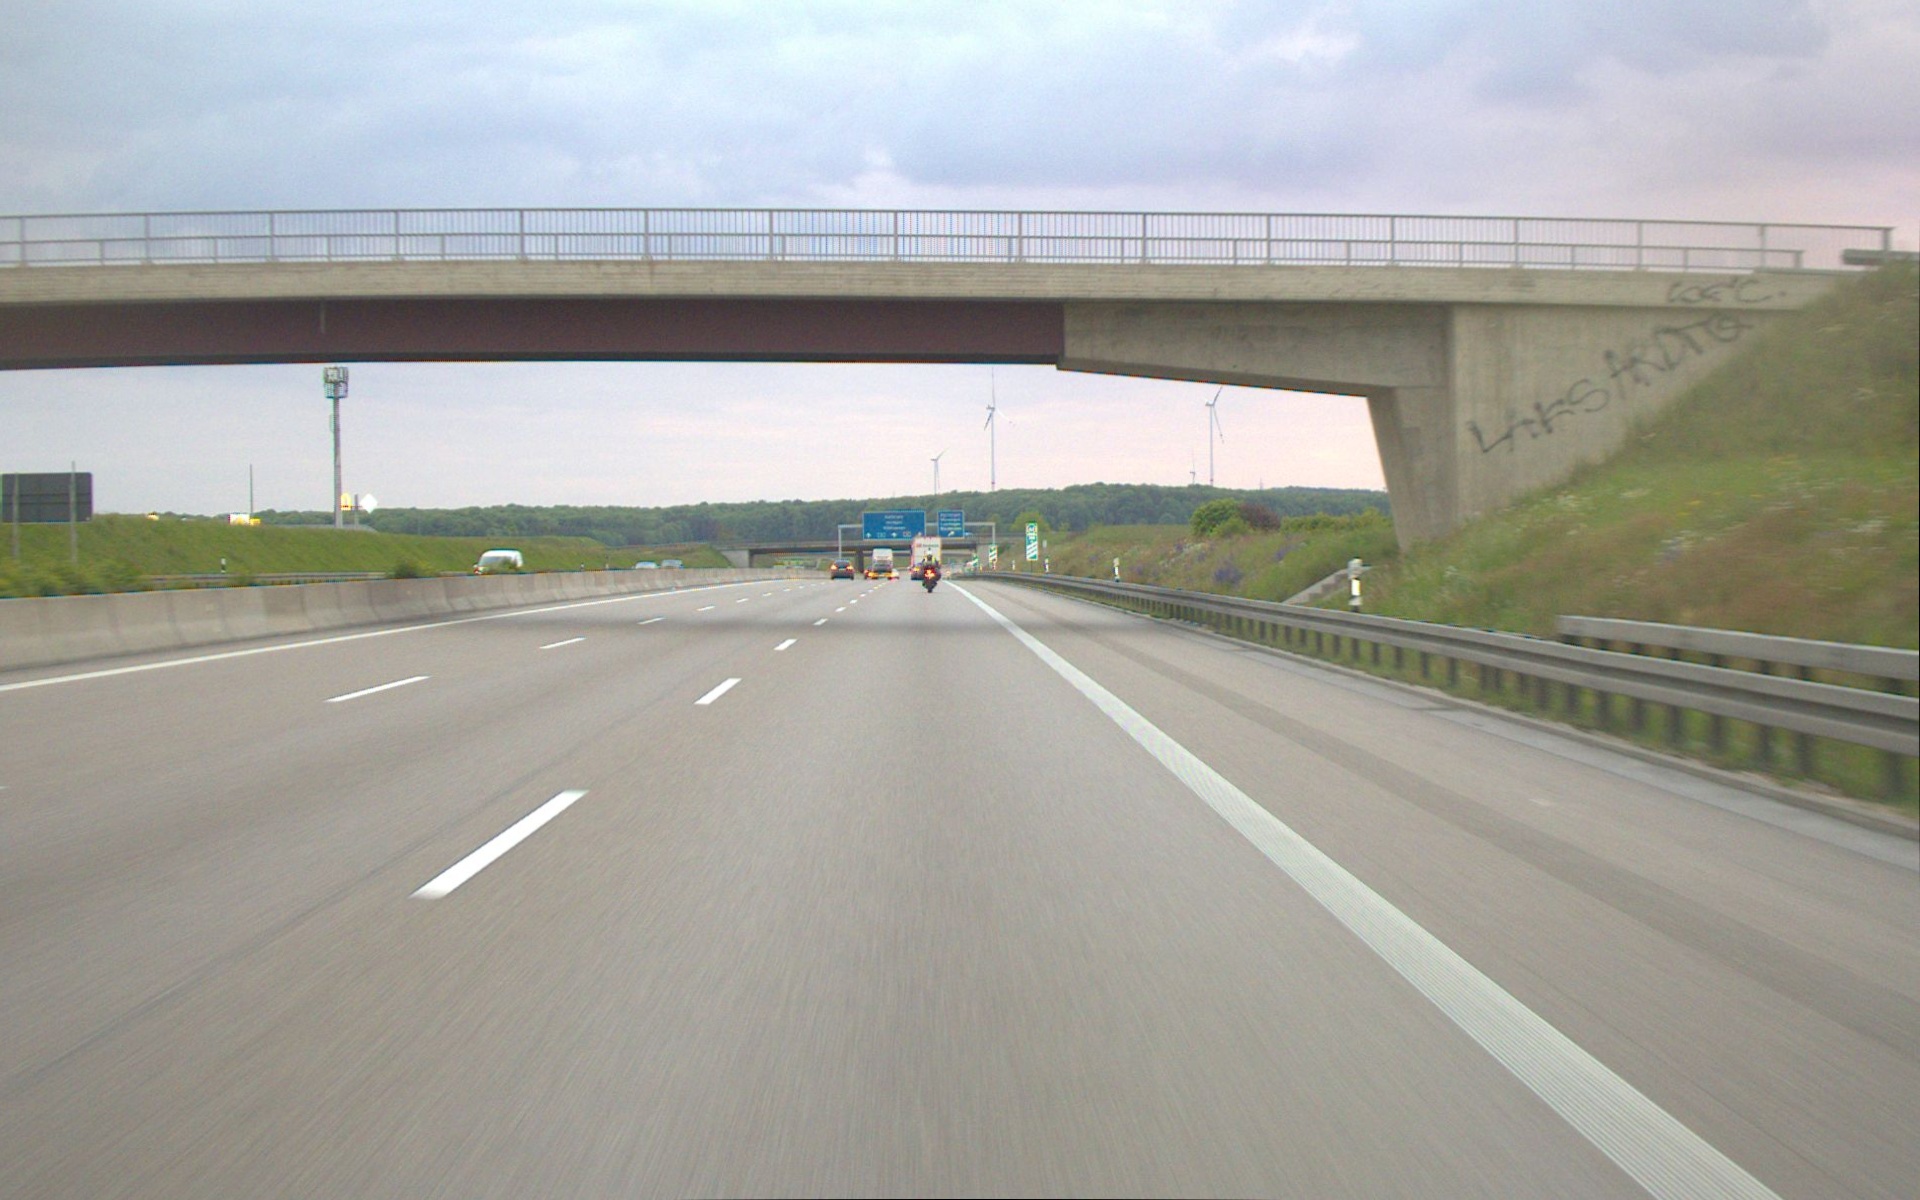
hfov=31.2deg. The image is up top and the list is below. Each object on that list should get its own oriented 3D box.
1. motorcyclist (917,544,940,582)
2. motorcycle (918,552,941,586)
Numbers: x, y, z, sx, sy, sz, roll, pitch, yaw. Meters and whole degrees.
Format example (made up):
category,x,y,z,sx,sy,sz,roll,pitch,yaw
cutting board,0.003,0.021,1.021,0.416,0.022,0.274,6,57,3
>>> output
category,x,y,z,sx,sy,sz,roll,pitch,yaw
motorcyclist,-1.254,-1.489,137.502,0.866,1.482,1.168,1,1,1
motorcycle,-1.229,-1.244,137.754,0.902,1.342,2.349,0,1,0
